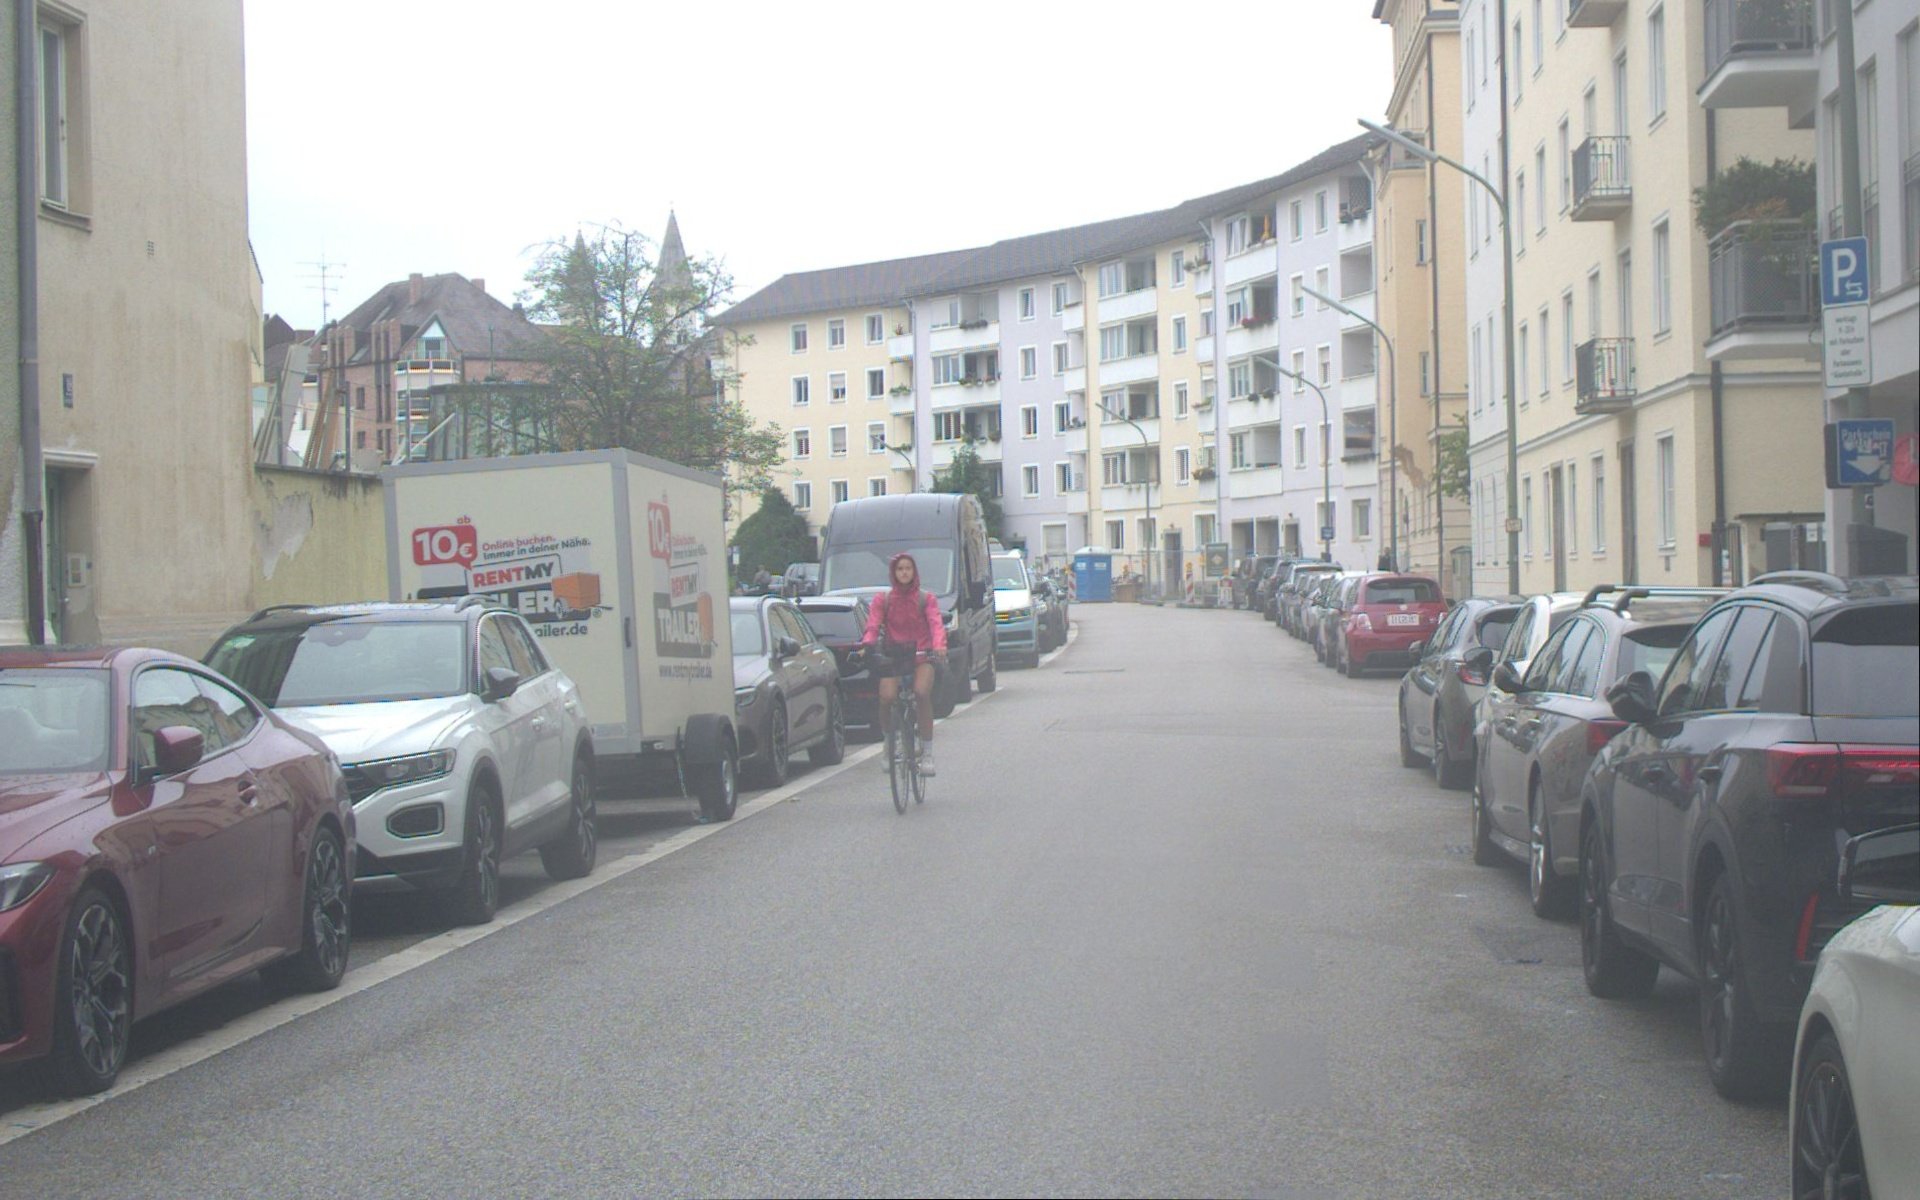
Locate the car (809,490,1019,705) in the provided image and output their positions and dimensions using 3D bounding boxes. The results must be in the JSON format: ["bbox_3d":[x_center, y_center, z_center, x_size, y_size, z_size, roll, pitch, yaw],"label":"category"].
[{"bbox_3d":[-0.527,-0.087,45.211,2.088,2.627,5.375,-1,1,6],"label":"car"}]

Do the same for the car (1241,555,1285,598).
[{"bbox_3d":[9.476,-0.740,107.619,1.272,1.294,2.797,0,1,3],"label":"car"}]

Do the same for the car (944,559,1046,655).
[{"bbox_3d":[0.703,0.115,66.236,1.702,1.685,4.027,-3,1,3],"label":"car"}]

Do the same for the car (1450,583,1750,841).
[{"bbox_3d":[4.116,0.668,22.543,1.519,1.525,3.526,1,1,4],"label":"car"}]

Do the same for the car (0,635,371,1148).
[{"bbox_3d":[-3.474,0.885,11.868,1.861,1.408,4.333,-3,0,3],"label":"car"}]

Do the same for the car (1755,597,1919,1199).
[{"bbox_3d":[2.395,0.752,5.081,1.658,1.435,4.206,1,1,3],"label":"car"}]

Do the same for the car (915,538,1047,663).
[{"bbox_3d":[0.395,-0.026,57.723,1.883,1.925,4.600,-3,1,3],"label":"car"}]

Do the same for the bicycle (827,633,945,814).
[{"bbox_3d":[-0.487,0.817,23.293,0.504,1.124,1.773,-2,0,7],"label":"bicycle"}]

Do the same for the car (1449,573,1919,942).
[{"bbox_3d":[3.502,0.653,16.966,1.734,1.525,4.621,1,1,3],"label":"car"}]

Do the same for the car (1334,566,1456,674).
[{"bbox_3d":[6.383,0.261,50.678,1.595,1.504,3.800,-1,1,5],"label":"car"}]

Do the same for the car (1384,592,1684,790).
[{"bbox_3d":[4.372,0.651,26.715,1.763,1.403,4.078,-1,0,2],"label":"car"}]

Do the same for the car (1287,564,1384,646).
[{"bbox_3d":[7.216,0.081,66.349,1.599,1.486,3.799,-1,1,3],"label":"car"}]

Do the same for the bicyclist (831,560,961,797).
[{"bbox_3d":[-0.424,0.517,23.303,0.694,1.556,0.966,-2,0,7],"label":"bicyclist"}]

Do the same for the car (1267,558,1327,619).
[{"bbox_3d":[9.388,-0.329,95.934,1.474,1.635,4.000,0,1,3],"label":"car"}]

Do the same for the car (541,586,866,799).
[{"bbox_3d":[-2.026,0.701,28.529,1.767,1.533,4.539,-3,0,7],"label":"car"}]

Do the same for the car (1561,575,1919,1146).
[{"bbox_3d":[3.030,0.705,11.258,1.604,1.525,3.984,1,1,3],"label":"car"}]

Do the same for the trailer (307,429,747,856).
[{"bbox_3d":[-2.705,0.227,22.538,1.710,2.453,4.385,-3,0,7],"label":"trailer"}]

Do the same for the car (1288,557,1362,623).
[{"bbox_3d":[9.090,-0.282,85.800,1.591,1.577,4.299,0,1,3],"label":"car"}]

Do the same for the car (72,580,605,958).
[{"bbox_3d":[-2.996,0.750,17.385,1.687,1.597,3.921,-3,0,4],"label":"car"}]

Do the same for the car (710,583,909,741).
[{"bbox_3d":[-1.475,0.588,34.870,1.701,1.441,3.825,0,1,2],"label":"car"}]
